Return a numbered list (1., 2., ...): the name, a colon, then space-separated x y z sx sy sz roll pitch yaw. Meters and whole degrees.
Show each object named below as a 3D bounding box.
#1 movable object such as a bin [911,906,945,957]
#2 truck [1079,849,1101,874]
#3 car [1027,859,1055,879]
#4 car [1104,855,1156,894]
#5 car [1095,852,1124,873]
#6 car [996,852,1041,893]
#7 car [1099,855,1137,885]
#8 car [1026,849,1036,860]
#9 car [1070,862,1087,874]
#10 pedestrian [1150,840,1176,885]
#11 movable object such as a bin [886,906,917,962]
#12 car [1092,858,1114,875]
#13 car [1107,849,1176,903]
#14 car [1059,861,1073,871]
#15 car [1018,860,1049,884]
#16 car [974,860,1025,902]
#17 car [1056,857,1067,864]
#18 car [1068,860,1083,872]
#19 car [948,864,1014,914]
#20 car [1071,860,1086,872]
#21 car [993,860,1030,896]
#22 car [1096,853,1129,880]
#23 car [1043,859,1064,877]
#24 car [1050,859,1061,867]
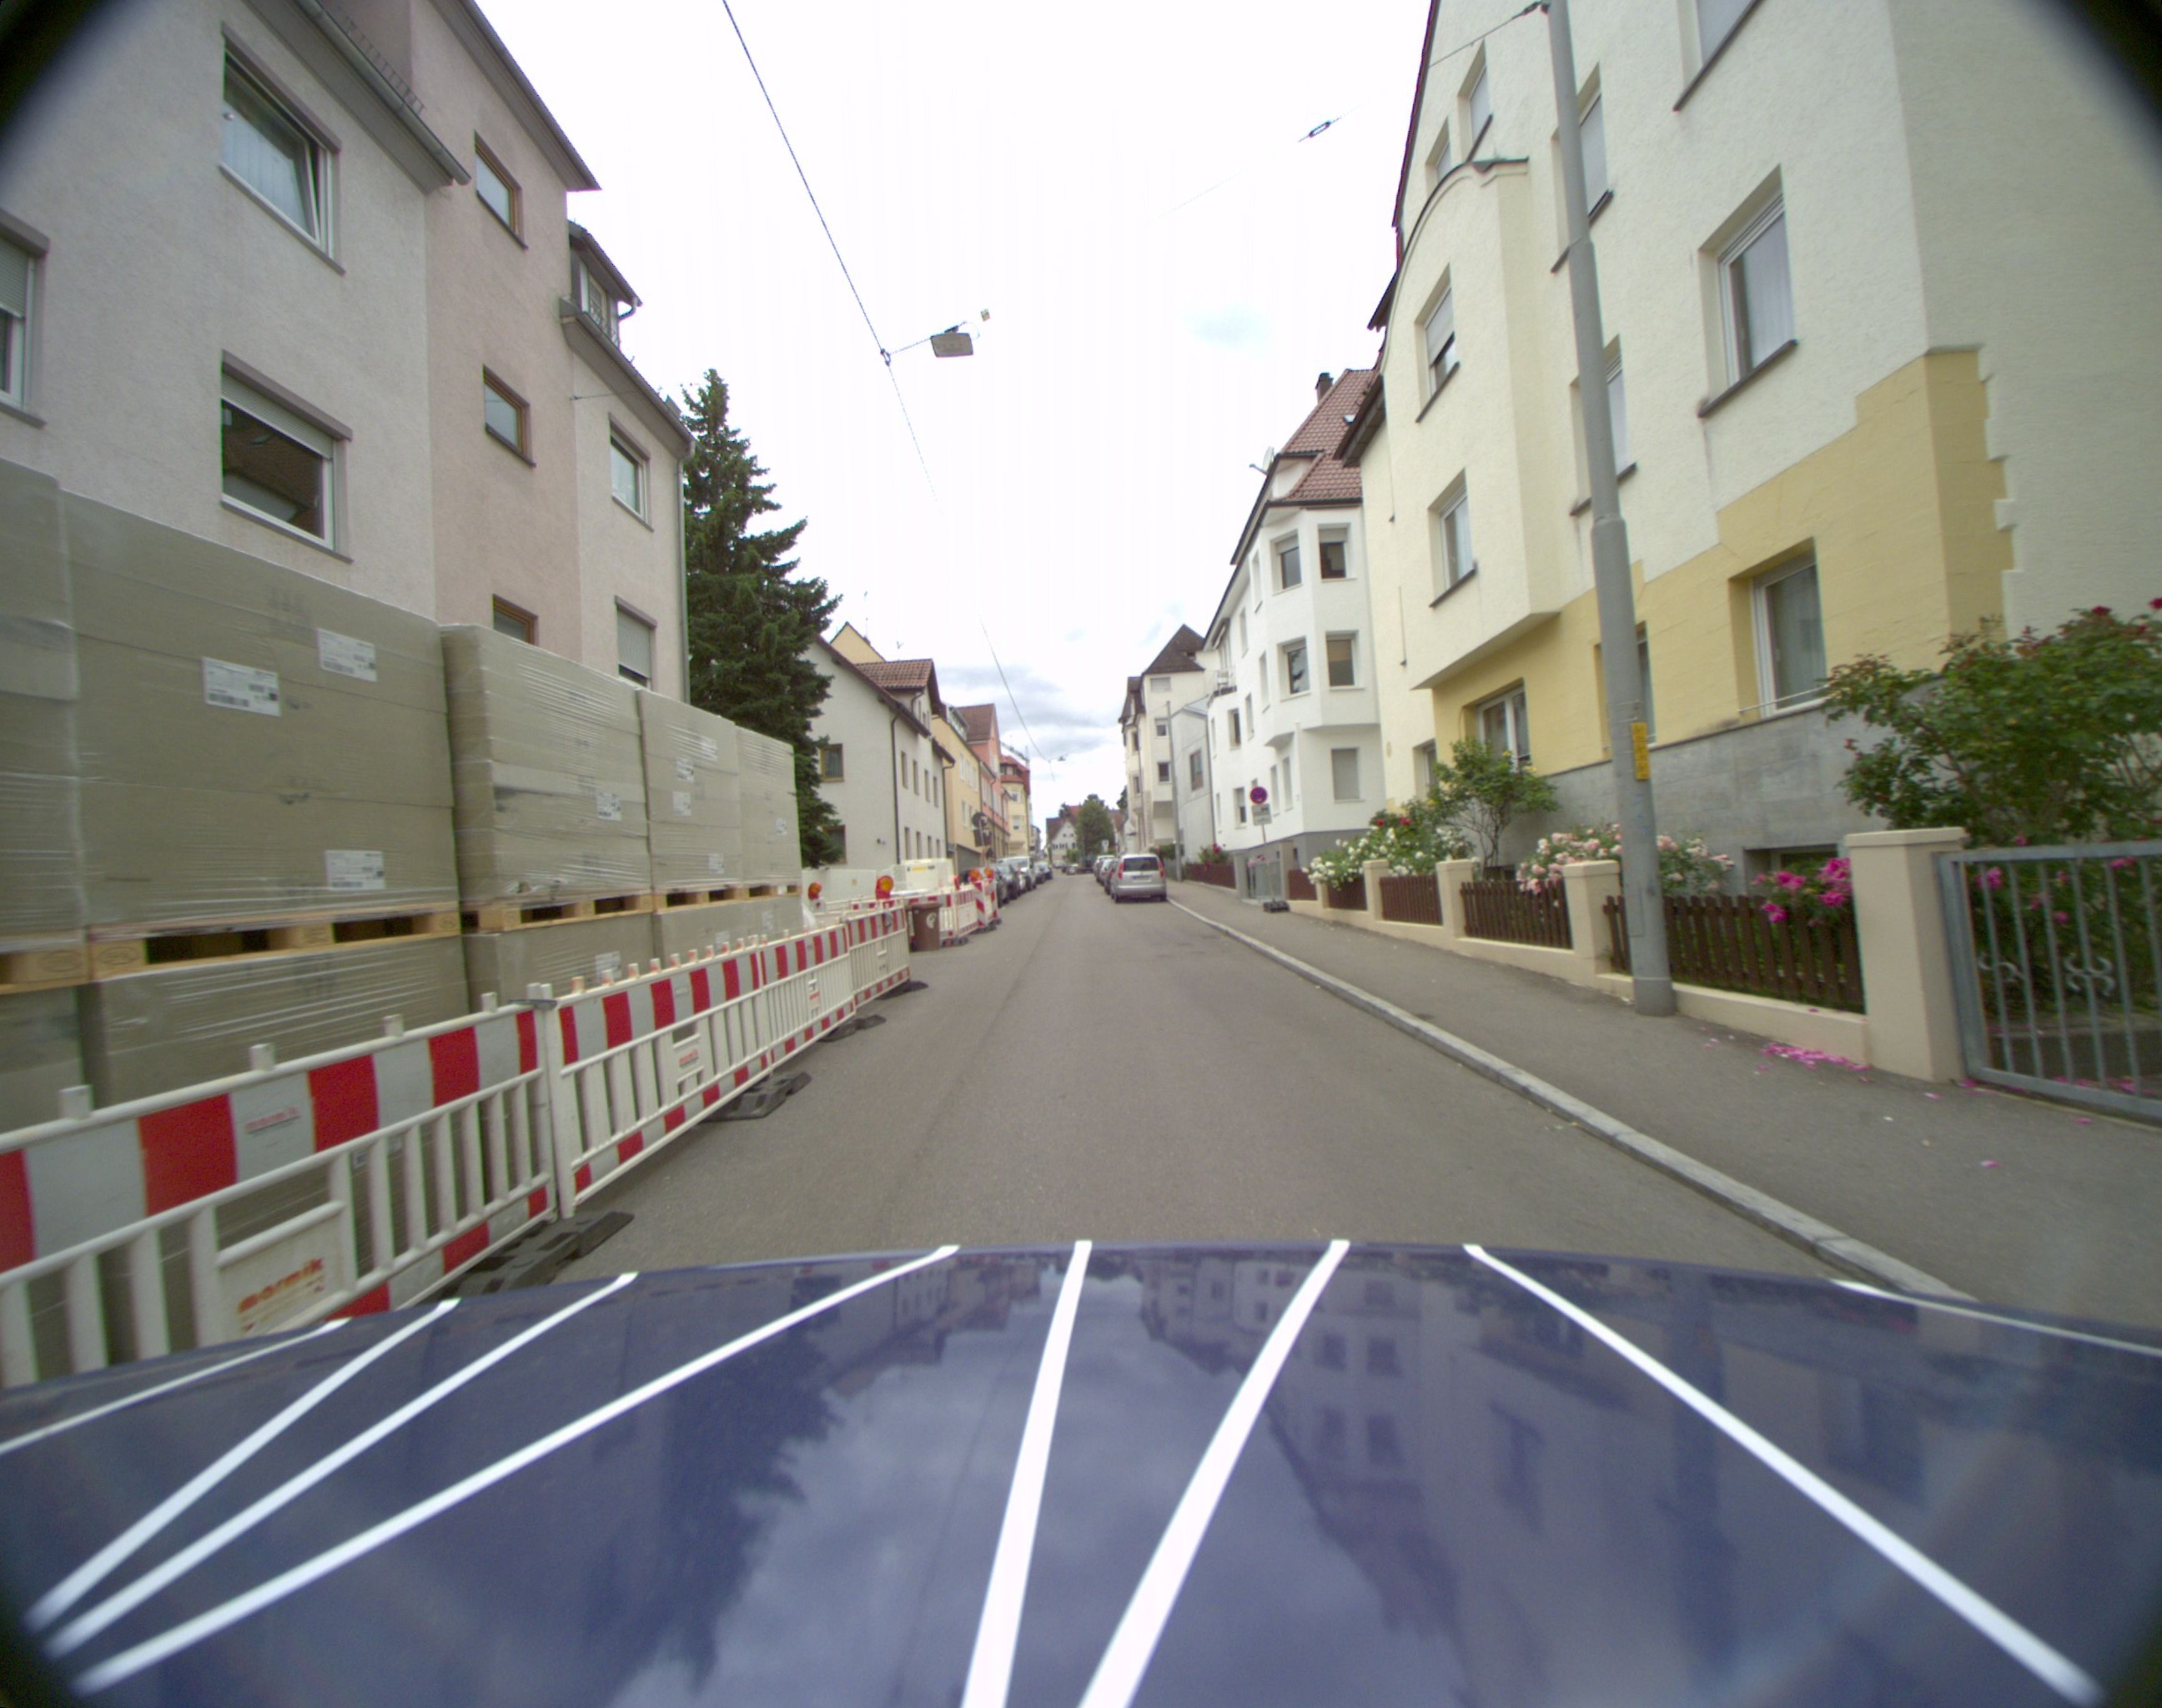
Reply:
1. movable object such as a bin: -2.830 1.438 14.034 0.400 0.887 0.364 -6 0 38
2. truck: 0.999 0.879 85.982 2.316 2.535 6.290 -2 -3 -1
3. car: -3.226 1.220 61.962 1.857 1.395 4.292 -5 -1 1
4. car: 1.989 0.809 31.993 1.849 1.449 4.504 -3 0 1
5. car: 2.150 0.674 58.735 1.850 1.506 4.240 -3 -1 -1
6. car: -3.447 0.994 42.900 1.910 2.017 5.733 -5 -1 0
7. car: 1.999 0.841 42.331 1.849 1.404 5.061 -3 0 1
8. car: -12.671 0.204 190.972 2.194 2.630 5.823 -2 0 -6
9. car: -0.380 1.779 99.041 1.855 1.454 3.946 -2 -2 -4
10. pedestrian: 3.529 0.370 32.672 0.817 1.873 0.848 -3 0 23
11. movable object such as a bin: -3.277 1.445 13.853 0.451 0.971 0.400 -1 -2 -24
12. car: 1.989 1.145 69.083 1.703 1.405 4.240 -3 -1 -1
13. car: 2.001 0.727 26.215 1.850 1.621 4.286 -3 -1 -1
14. car: -2.524 1.961 127.705 1.856 1.640 3.944 -2 0 -6
15. car: -3.347 1.258 54.024 1.857 1.395 4.574 -7 0 -1
16. car: -3.516 1.142 33.521 1.717 1.587 4.498 -5 -1 -1
17. car: -3.731 1.261 146.638 1.856 1.441 3.944 -2 0 -6
18. car: -0.926 1.854 117.005 1.856 1.640 3.944 -2 0 -6
19. car: -3.578 1.213 27.896 1.719 1.556 4.073 -5 -1 1
20. car: -0.363 1.793 109.750 1.855 1.640 3.946 -2 -2 -4
21. car: -3.434 1.175 37.895 1.490 1.587 2.791 -5 -1 -1
22. car: 1.956 0.774 48.239 1.900 1.518 4.470 -3 0 1
23. car: -2.489 1.252 69.260 1.672 1.470 3.626 -3 -1 0
24. car: -5.092 1.815 152.786 1.856 1.441 3.943 -2 1 -6
